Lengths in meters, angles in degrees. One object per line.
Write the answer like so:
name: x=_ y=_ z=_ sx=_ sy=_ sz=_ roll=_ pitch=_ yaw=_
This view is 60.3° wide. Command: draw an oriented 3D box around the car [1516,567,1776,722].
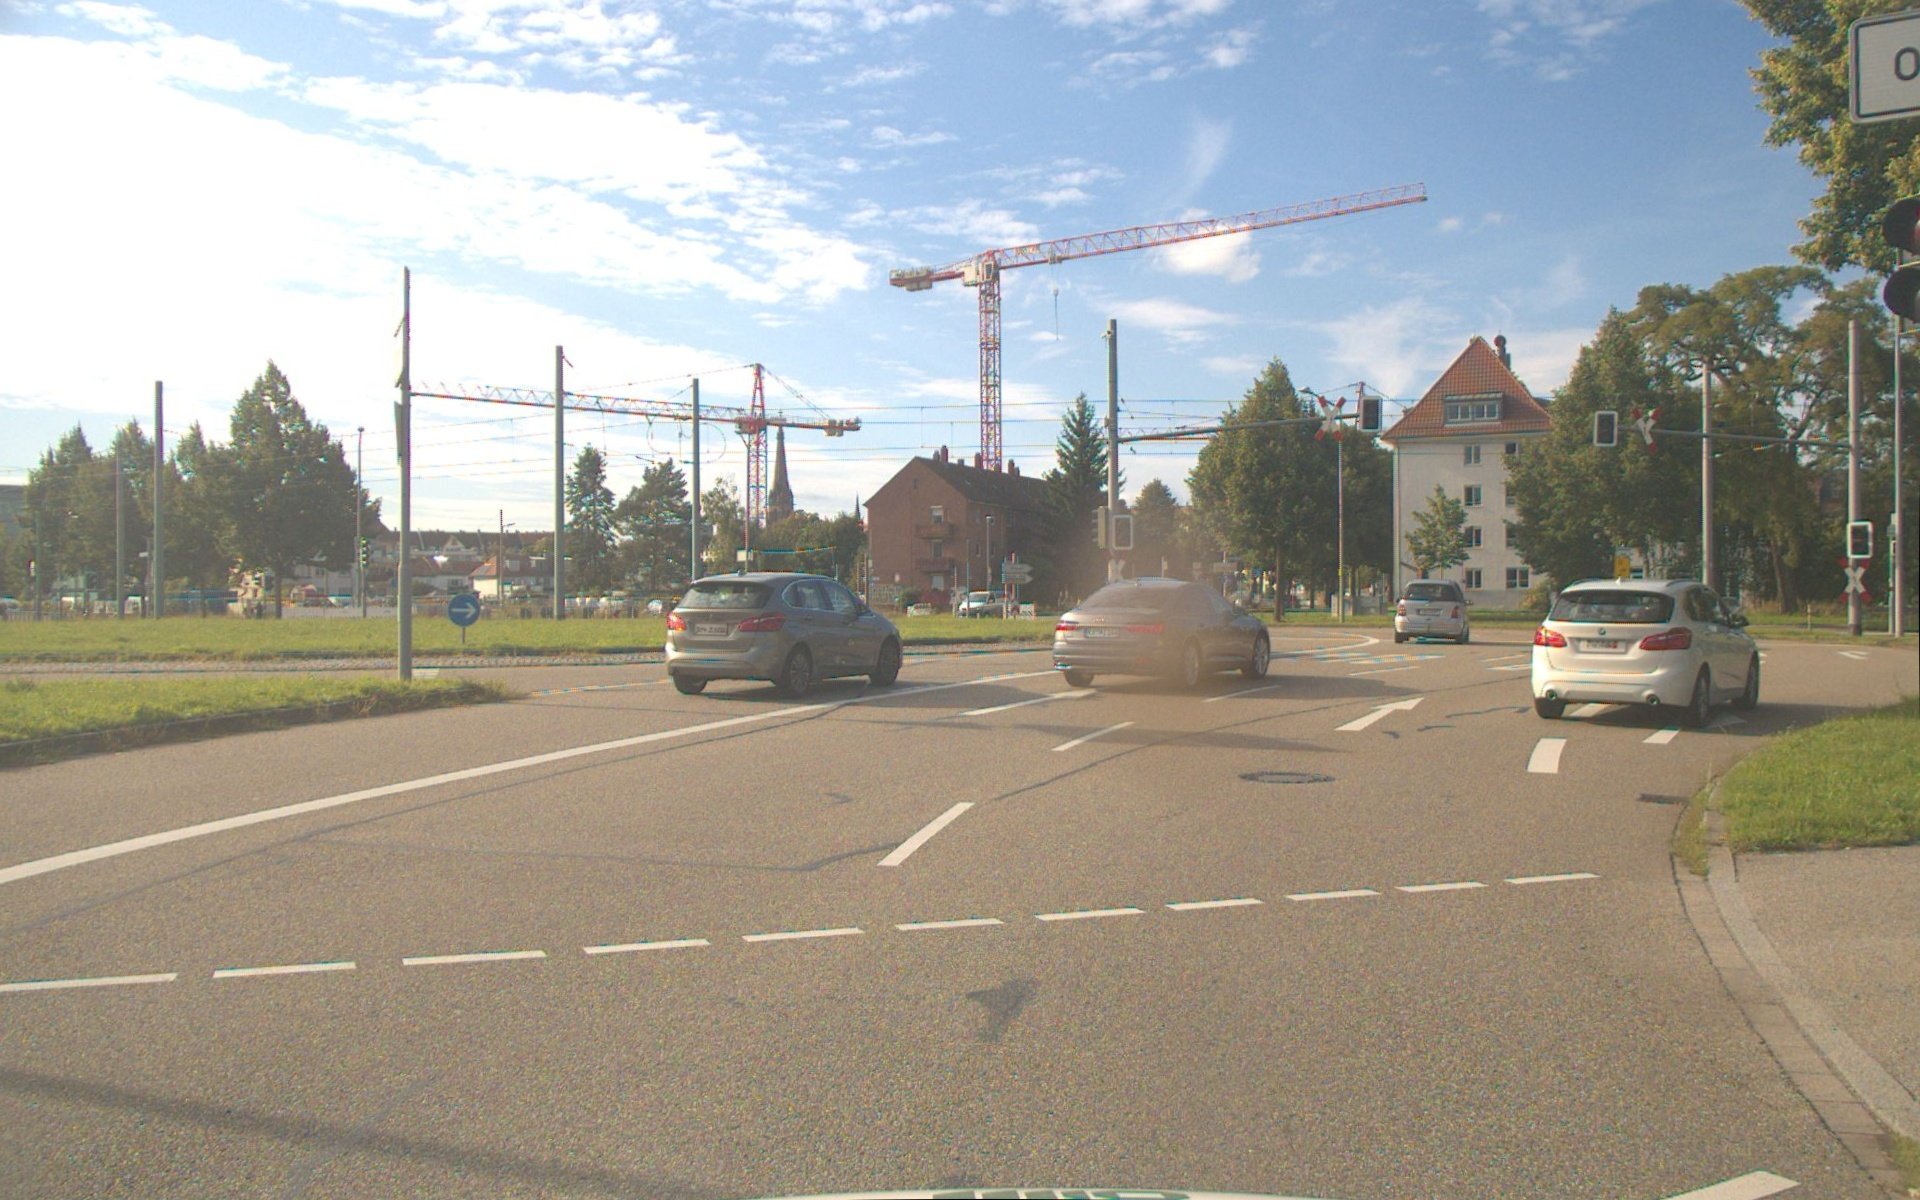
car: x=8.124 y=0.462 z=19.354 sx=1.820 sy=1.600 sz=4.437 roll=1 pitch=0 yaw=36

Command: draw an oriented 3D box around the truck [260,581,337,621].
truck: x=-55.678 y=0.117 z=139.073 sx=7.174 sy=3.263 sz=2.804 roll=-1 pitch=-1 yaw=38

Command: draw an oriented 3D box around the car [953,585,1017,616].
car: x=1.636 y=0.022 z=106.000 sx=1.863 sy=1.936 sz=4.646 roll=0 pitch=0 yaw=34

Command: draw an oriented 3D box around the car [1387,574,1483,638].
car: x=12.013 y=0.140 z=41.682 sx=1.813 sy=1.504 sz=4.453 roll=1 pitch=0 yaw=23

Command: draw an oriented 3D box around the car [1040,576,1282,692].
car: x=3.020 y=0.398 z=23.931 sx=1.816 sy=1.470 sz=4.706 roll=0 pitch=1 yaw=30

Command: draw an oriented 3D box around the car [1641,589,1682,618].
car: x=35.443 y=0.164 z=83.488 sx=1.818 sy=1.405 sz=4.513 roll=-1 pitch=0 yaw=24

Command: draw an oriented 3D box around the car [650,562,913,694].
car: x=-2.285 y=0.343 z=22.284 sx=1.732 sy=1.600 sz=4.065 roll=1 pitch=0 yaw=23

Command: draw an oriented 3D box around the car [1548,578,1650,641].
car: x=15.538 y=0.220 z=40.416 sx=1.811 sy=1.451 sz=4.458 roll=1 pitch=0 yaw=14
